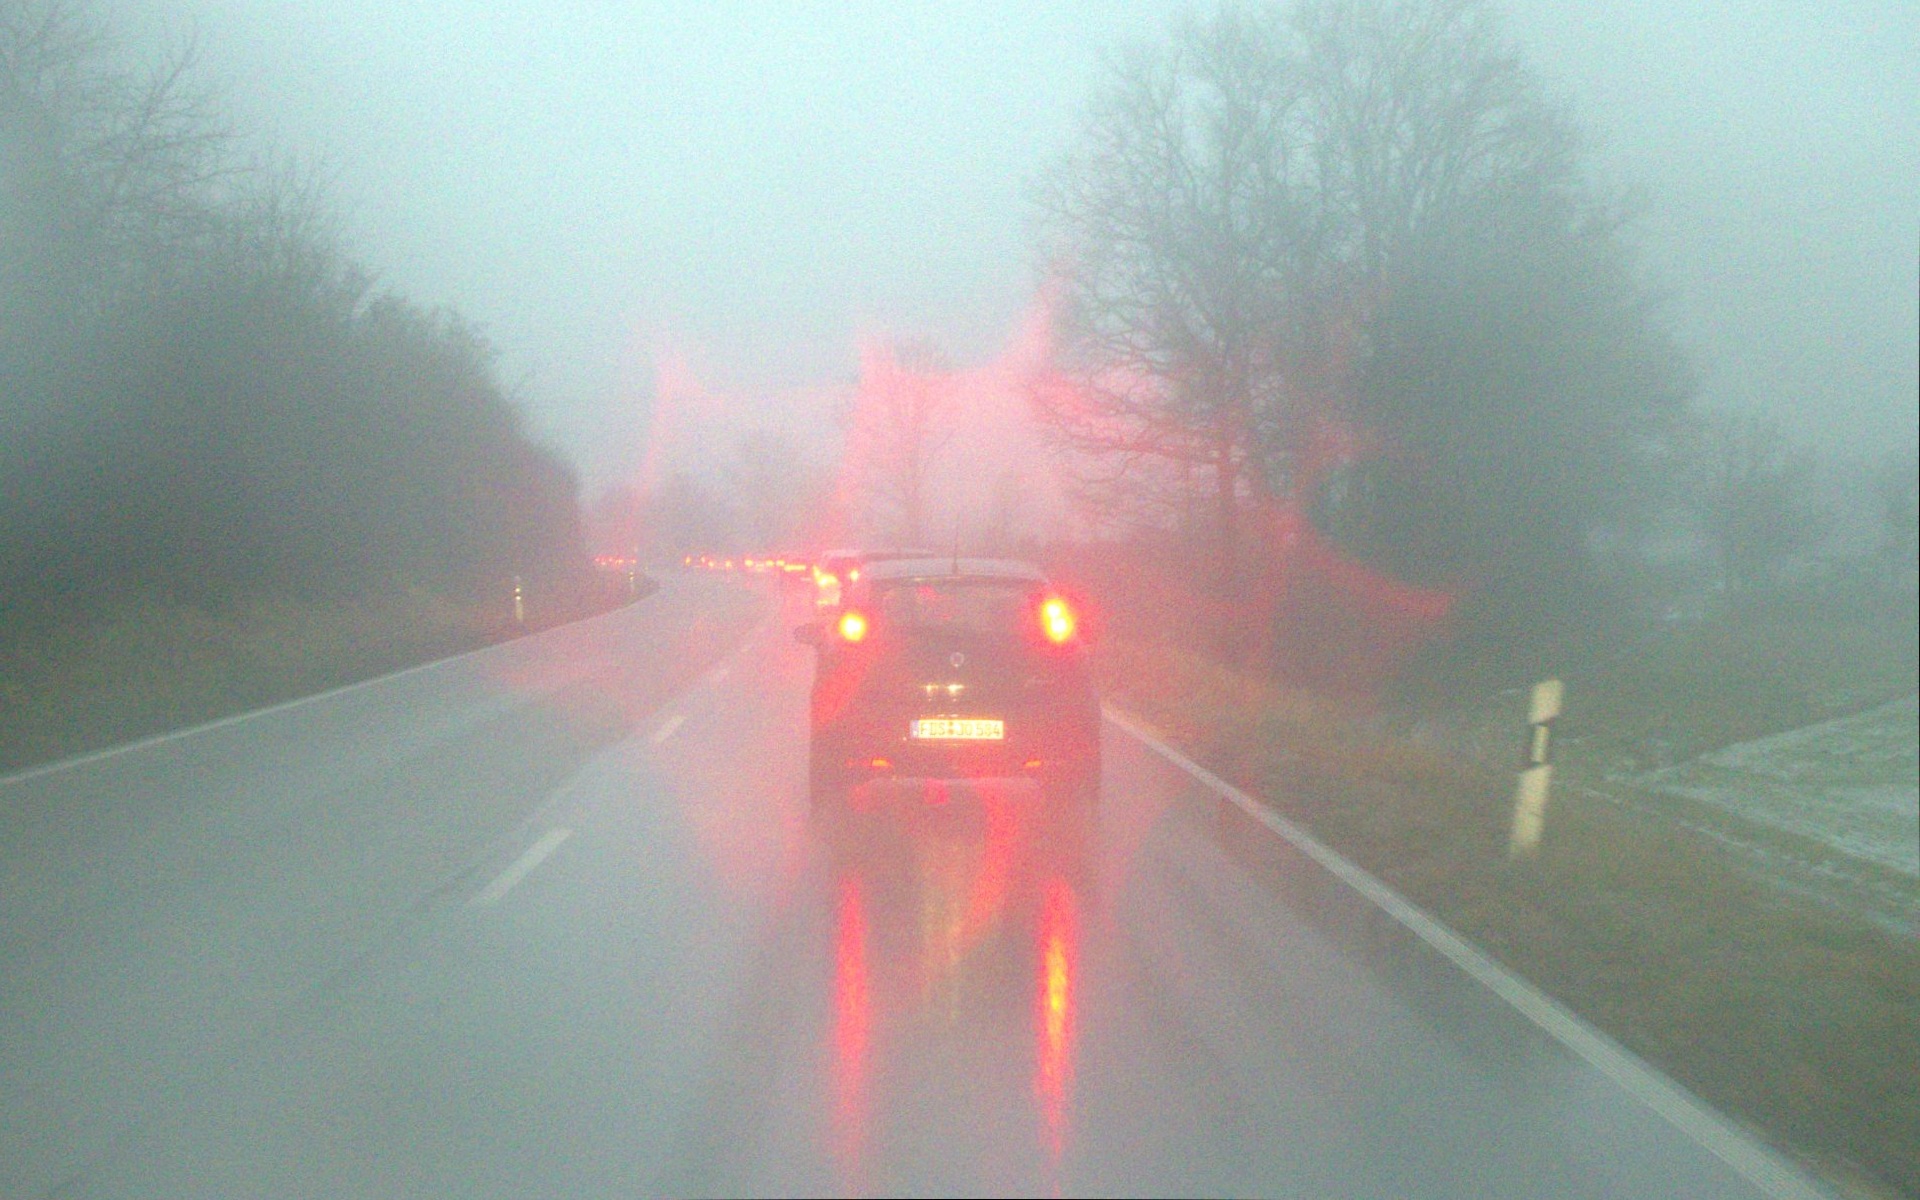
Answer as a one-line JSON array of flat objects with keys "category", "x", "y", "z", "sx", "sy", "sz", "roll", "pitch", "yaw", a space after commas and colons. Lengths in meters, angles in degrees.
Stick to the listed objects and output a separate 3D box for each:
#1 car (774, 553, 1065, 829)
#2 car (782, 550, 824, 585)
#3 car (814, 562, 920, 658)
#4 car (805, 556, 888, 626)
[{"category": "car", "x": -0.168, "y": 0.483, "z": 21.053, "sx": 1.602, "sy": 1.517, "sz": 3.869, "roll": 1, "pitch": 1, "yaw": 2}, {"category": "car", "x": -6.424, "y": -1.347, "z": 140.657, "sx": 1.547, "sy": 1.392, "sz": 3.869, "roll": 1, "pitch": 1, "yaw": 0}, {"category": "car", "x": -1.406, "y": 0.131, "z": 52.675, "sx": 1.547, "sy": 1.392, "sz": 3.870, "roll": 1, "pitch": 1, "yaw": -1}, {"category": "car", "x": -2.346, "y": -0.205, "z": 71.781, "sx": 1.547, "sy": 1.392, "sz": 3.869, "roll": 1, "pitch": 1, "yaw": 1}]
